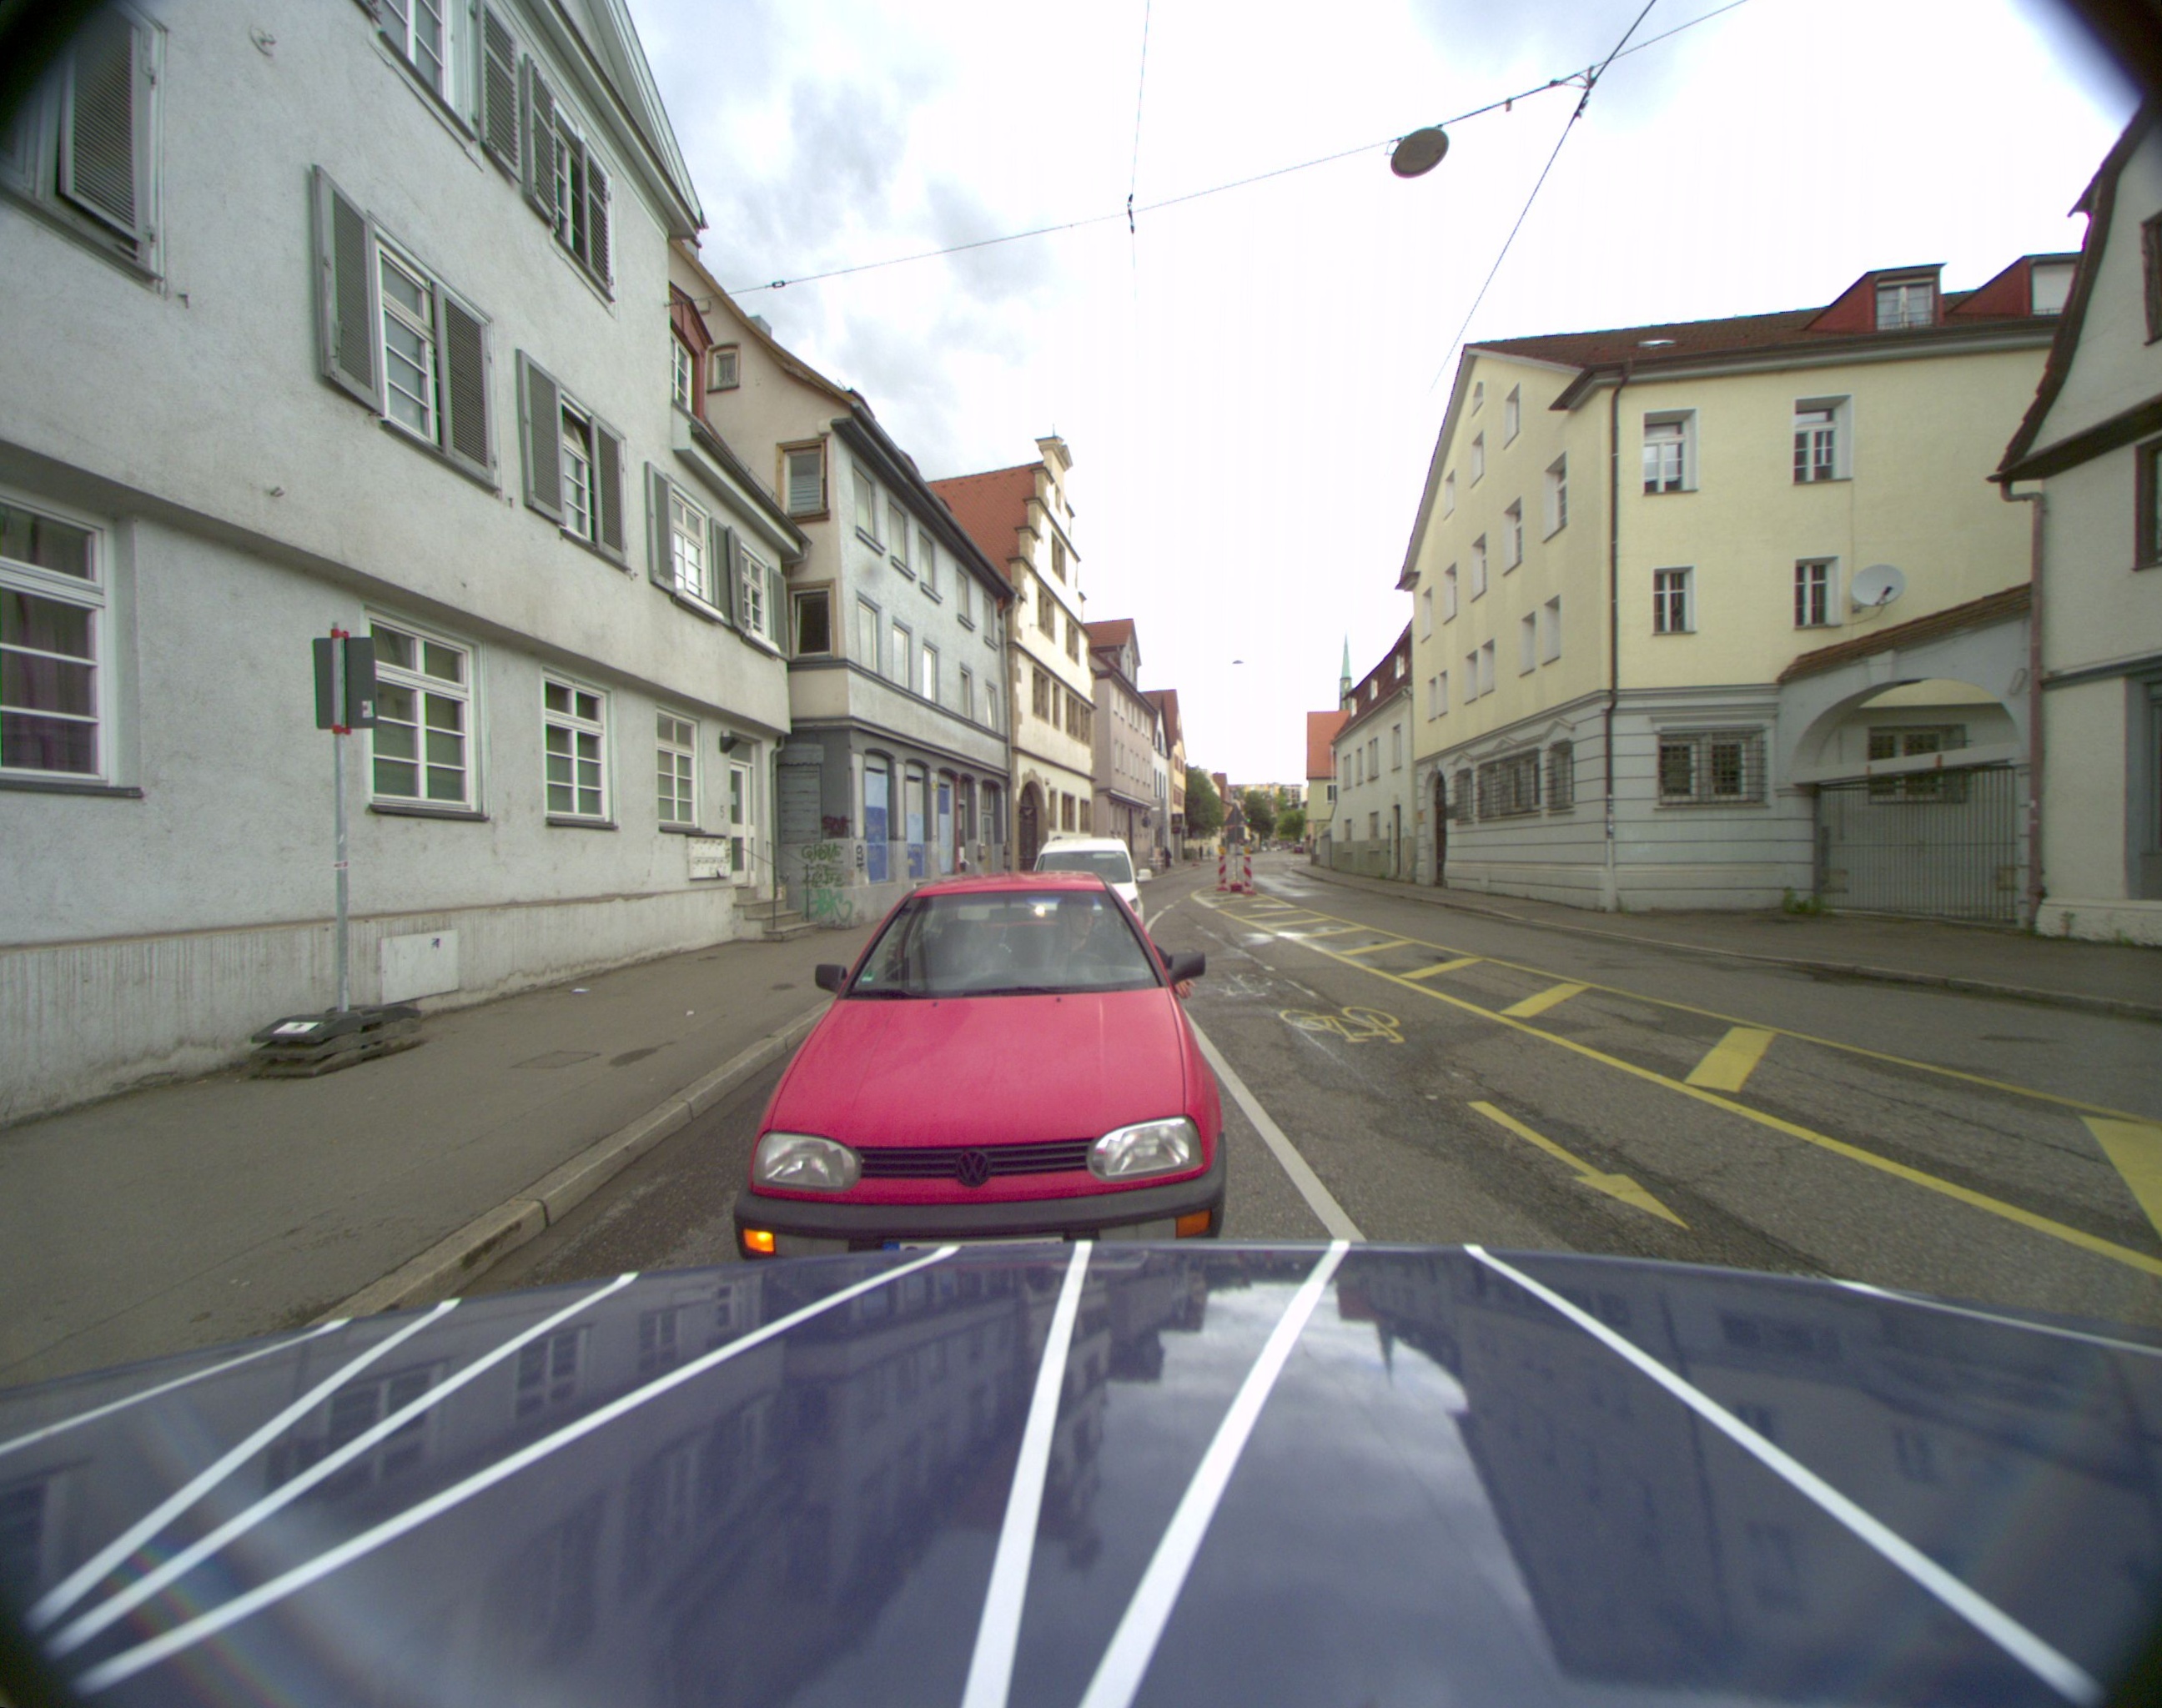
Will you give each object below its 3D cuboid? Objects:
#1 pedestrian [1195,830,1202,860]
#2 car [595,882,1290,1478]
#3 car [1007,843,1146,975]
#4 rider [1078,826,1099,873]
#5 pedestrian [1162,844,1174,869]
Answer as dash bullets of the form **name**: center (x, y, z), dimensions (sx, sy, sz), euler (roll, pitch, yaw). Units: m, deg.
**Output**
- **pedestrian**: center (9.893, -0.766, 63.847), dimensions (0.495, 2.513, 0.746), euler (-1, 1, 12)
- **car**: center (-0.312, 0.937, 3.990), dimensions (1.792, 1.417, 4.000), euler (-1, 0, 2)
- **car**: center (0.027, 0.695, 12.166), dimensions (1.814, 1.695, 4.256), euler (-1, 1, 2)
- **rider**: center (0.309, -0.173, 30.225), dimensions (0.719, 1.837, 0.798), euler (0, 1, 10)
- **pedestrian**: center (5.752, 0.173, 50.157), dimensions (0.725, 1.604, 0.649), euler (0, 2, 10)
